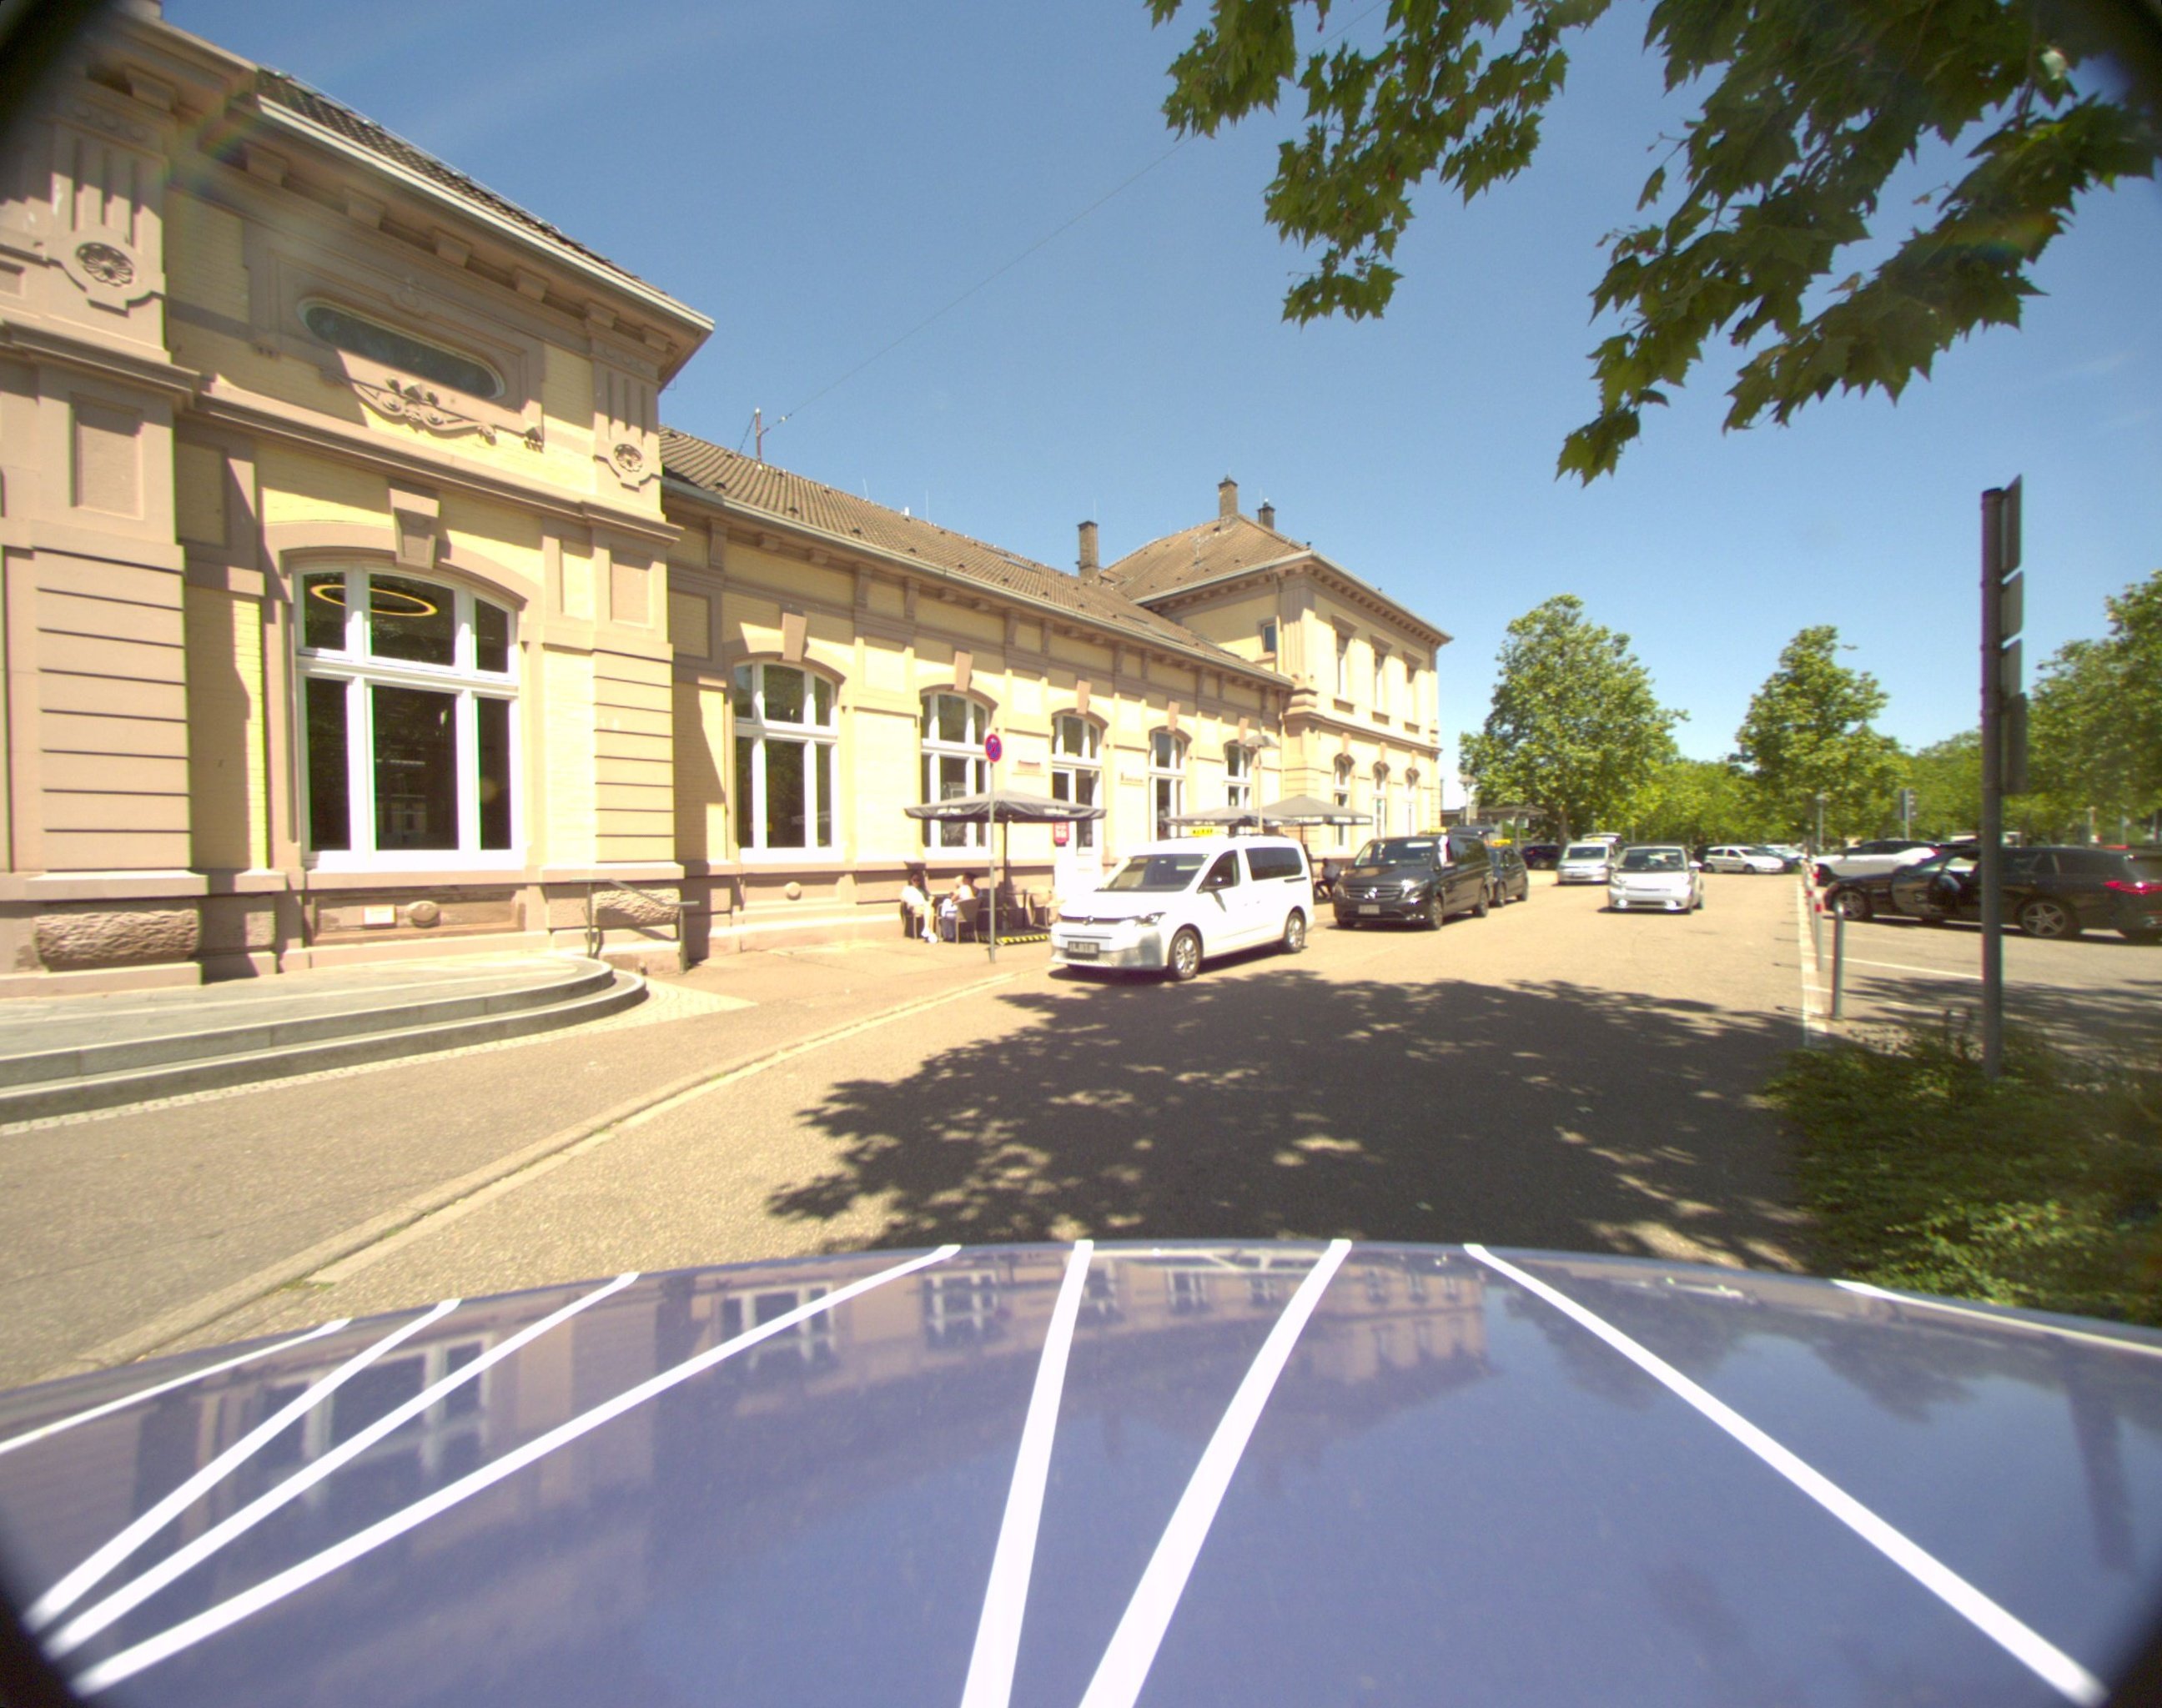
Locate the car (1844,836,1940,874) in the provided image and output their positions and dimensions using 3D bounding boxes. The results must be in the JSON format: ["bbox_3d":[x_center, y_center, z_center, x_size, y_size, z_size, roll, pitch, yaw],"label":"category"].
[{"bbox_3d":[41.685,0.013,39.190,1.735,1.883,4.005,0,1,20],"label":"car"}]

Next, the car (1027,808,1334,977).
[{"bbox_3d":[1.697,0.428,10.882,1.810,1.855,5.150,-1,0,41],"label":"car"}]

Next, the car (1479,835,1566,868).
[{"bbox_3d":[31.138,-0.148,53.629,4.951,2.108,2.056,-2,0,42],"label":"car"}]

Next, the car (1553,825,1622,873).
[{"bbox_3d":[21.418,-0.216,32.015,1.999,1.829,5.329,-2,0,38],"label":"car"}]

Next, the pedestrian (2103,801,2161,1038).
[{"bbox_3d":[8.192,0.472,5.388,0.773,1.707,0.814,-1,1,-4],"label":"pedestrian"}]

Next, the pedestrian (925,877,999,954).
[{"bbox_3d":[-1.993,1.001,12.727,0.879,1.155,0.853,2,3,39],"label":"pedestrian"}]

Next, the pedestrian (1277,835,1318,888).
[{"bbox_3d":[6.501,0.196,22.843,0.879,1.535,0.853,3,3,39],"label":"pedestrian"}]

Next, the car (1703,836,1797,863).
[{"bbox_3d":[36.225,-0.263,41.239,1.803,1.395,3.510,0,1,-6],"label":"car"}]

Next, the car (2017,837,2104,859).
[{"bbox_3d":[63.397,-0.415,49.244,3.151,1.386,1.468,0,1,37],"label":"car"}]

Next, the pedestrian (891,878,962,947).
[{"bbox_3d":[-2.715,1.003,13.327,0.879,1.074,0.853,2,3,39],"label":"pedestrian"}]

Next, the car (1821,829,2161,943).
[{"bbox_3d":[15.801,0.377,12.963,1.800,1.534,4.527,-2,2,-3],"label":"car"}]

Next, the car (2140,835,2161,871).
[{"bbox_3d":[45.754,-0.046,30.349,3.869,1.452,1.638,0,1,15],"label":"car"}]

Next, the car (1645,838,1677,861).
[{"bbox_3d":[50.258,-0.410,65.823,2.046,1.829,4.975,-2,0,38],"label":"car"}]

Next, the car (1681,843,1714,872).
[{"bbox_3d":[37.205,0.168,45.826,1.453,1.660,3.112,0,1,41],"label":"car"}]

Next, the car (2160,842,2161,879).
[{"bbox_3d":[43.523,0.250,28.187,3.869,1.452,1.638,0,1,15],"label":"car"}]

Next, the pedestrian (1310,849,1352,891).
[{"bbox_3d":[7.383,0.458,22.431,0.849,1.158,0.883,3,3,42],"label":"pedestrian"}]

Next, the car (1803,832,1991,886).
[{"bbox_3d":[26.984,0.096,25.358,1.800,1.596,4.061,-2,2,-2],"label":"car"}]

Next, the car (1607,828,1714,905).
[{"bbox_3d":[13.274,0.235,17.354,1.597,1.584,3.112,0,1,43],"label":"car"}]

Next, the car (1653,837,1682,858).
[{"bbox_3d":[54.673,-0.620,70.826,2.046,1.829,4.975,-2,0,38],"label":"car"}]

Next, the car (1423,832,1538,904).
[{"bbox_3d":[11.529,0.357,21.746,2.075,1.829,4.851,-1,0,38],"label":"car"}]

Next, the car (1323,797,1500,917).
[{"bbox_3d":[7.294,0.055,16.311,2.087,2.112,5.838,-1,0,38],"label":"car"}]

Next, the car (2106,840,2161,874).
[{"bbox_3d":[46.977,0.109,32.287,3.869,1.452,1.638,0,1,15],"label":"car"}]

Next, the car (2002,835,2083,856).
[{"bbox_3d":[65.809,-0.563,52.073,3.151,1.386,1.468,0,1,37],"label":"car"}]

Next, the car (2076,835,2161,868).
[{"bbox_3d":[48.229,-0.143,34.253,3.869,1.452,1.638,0,1,15],"label":"car"}]
